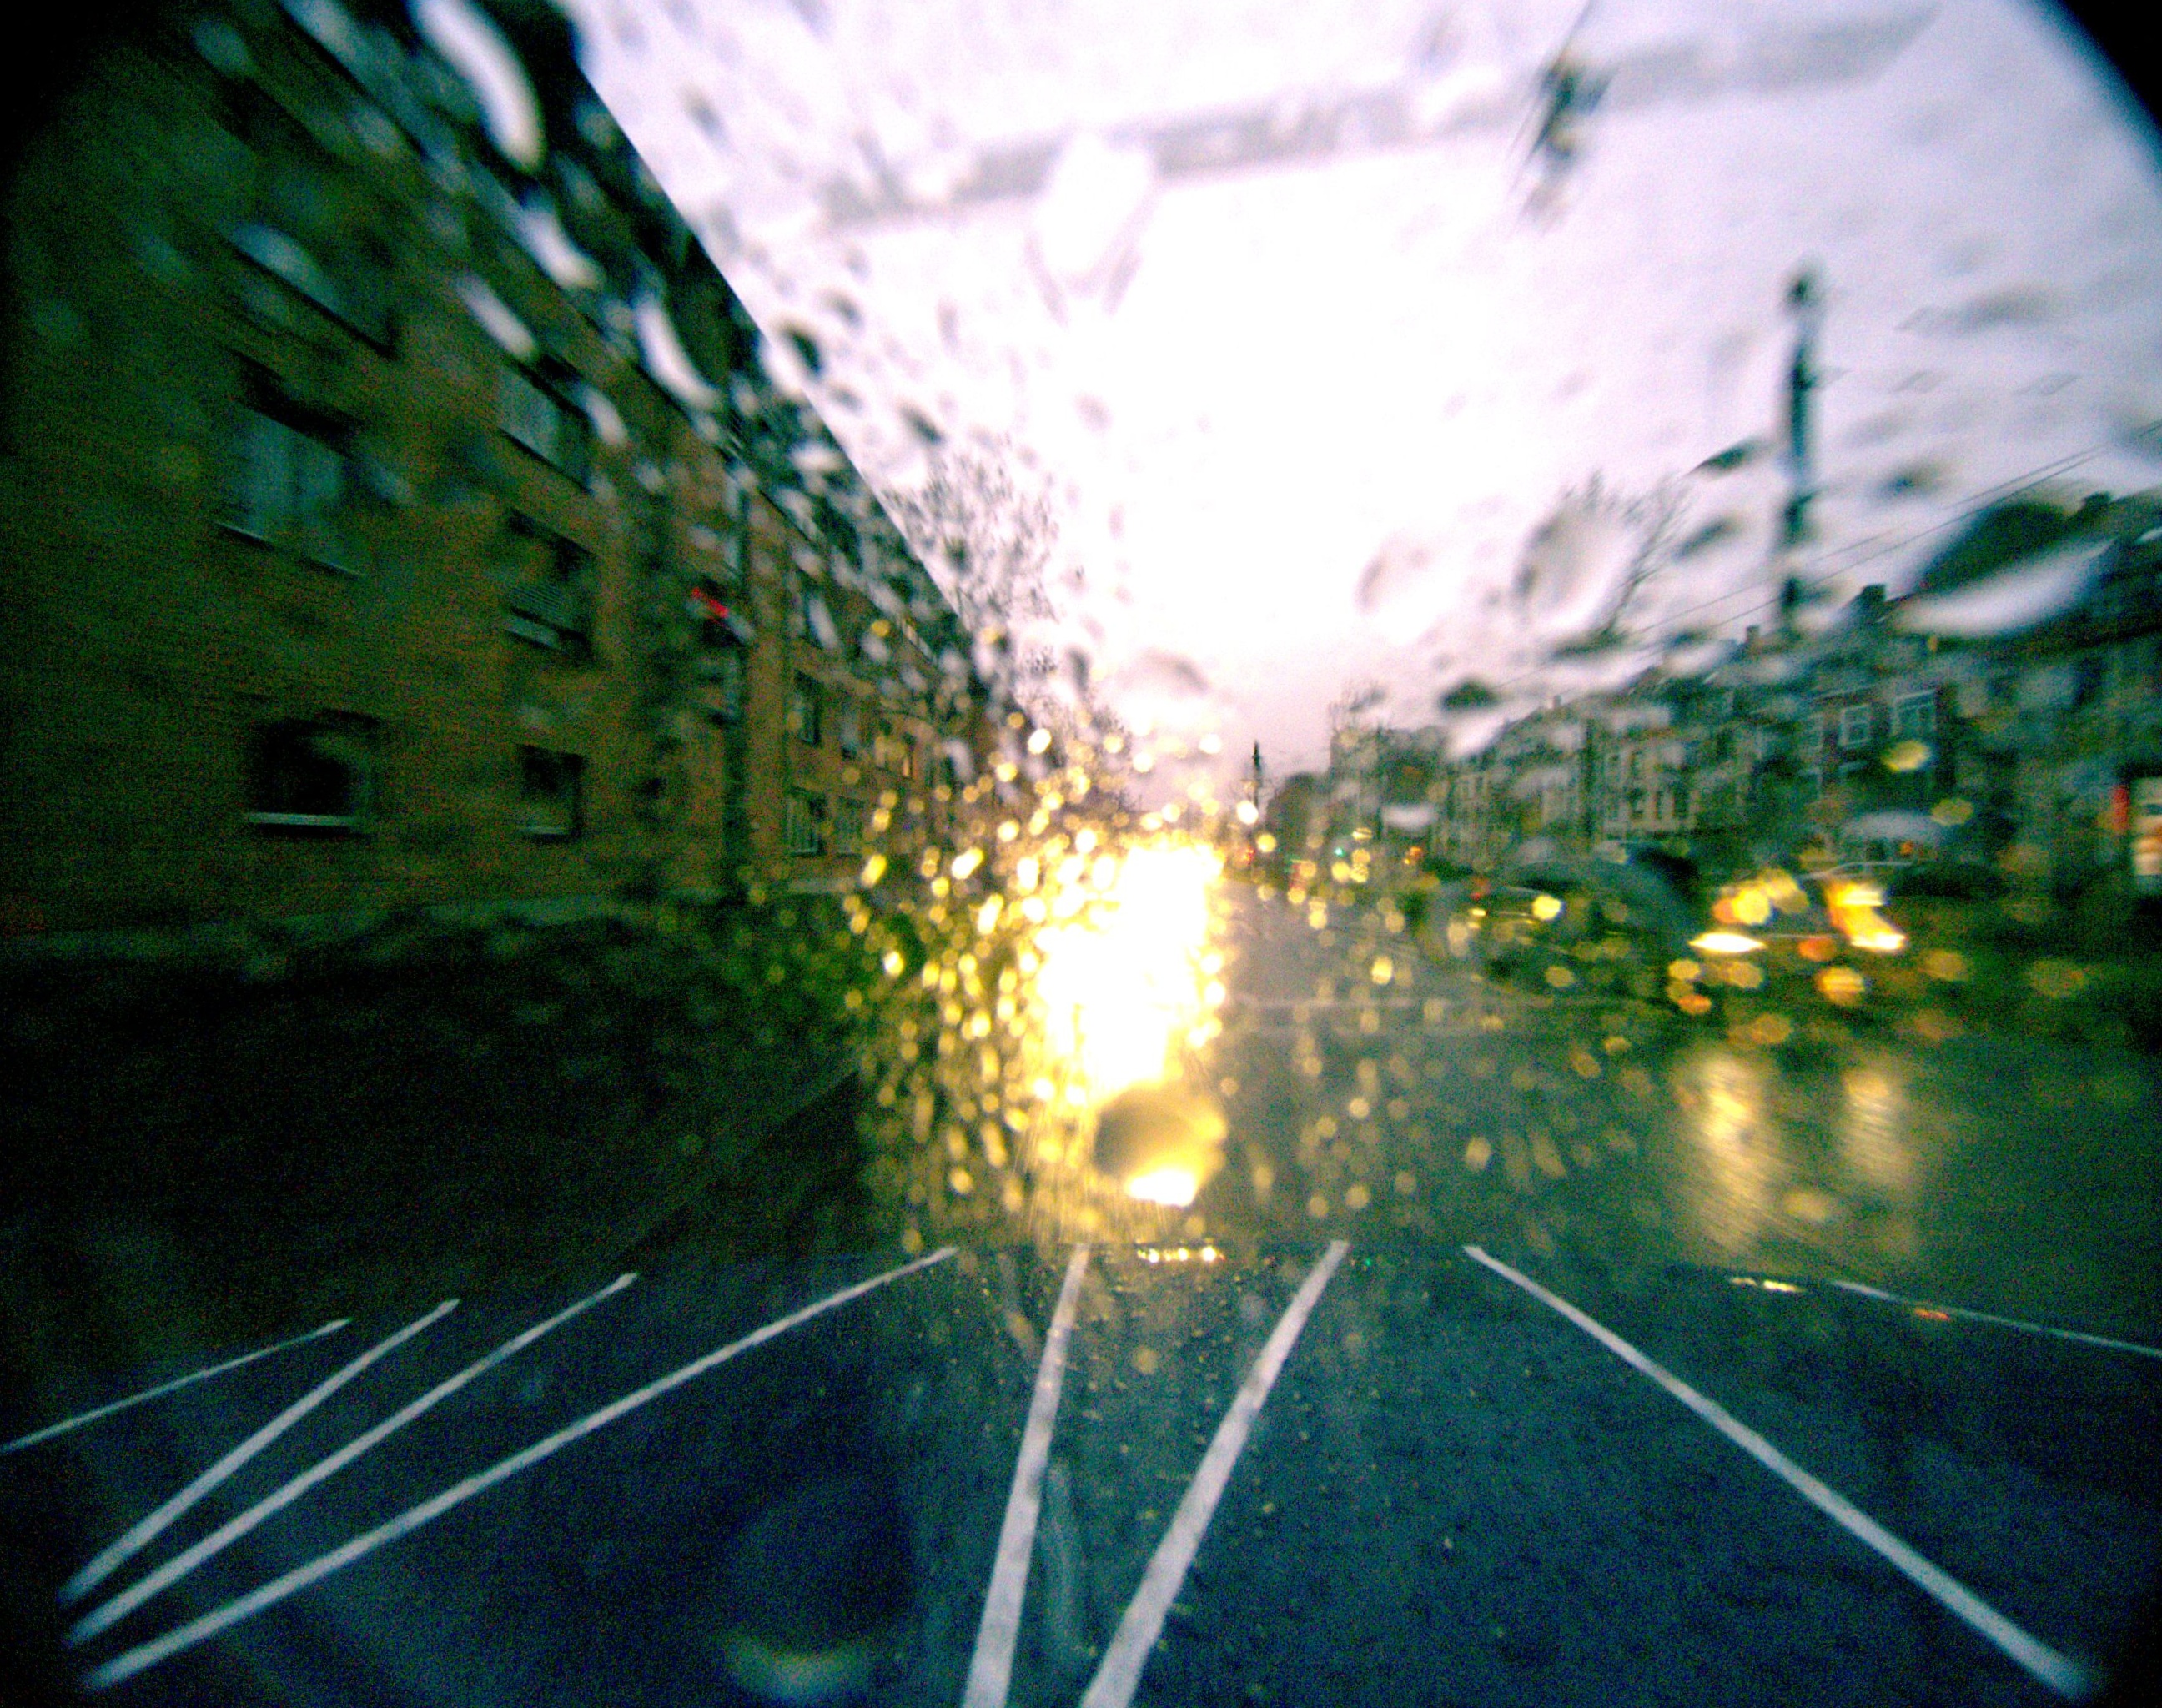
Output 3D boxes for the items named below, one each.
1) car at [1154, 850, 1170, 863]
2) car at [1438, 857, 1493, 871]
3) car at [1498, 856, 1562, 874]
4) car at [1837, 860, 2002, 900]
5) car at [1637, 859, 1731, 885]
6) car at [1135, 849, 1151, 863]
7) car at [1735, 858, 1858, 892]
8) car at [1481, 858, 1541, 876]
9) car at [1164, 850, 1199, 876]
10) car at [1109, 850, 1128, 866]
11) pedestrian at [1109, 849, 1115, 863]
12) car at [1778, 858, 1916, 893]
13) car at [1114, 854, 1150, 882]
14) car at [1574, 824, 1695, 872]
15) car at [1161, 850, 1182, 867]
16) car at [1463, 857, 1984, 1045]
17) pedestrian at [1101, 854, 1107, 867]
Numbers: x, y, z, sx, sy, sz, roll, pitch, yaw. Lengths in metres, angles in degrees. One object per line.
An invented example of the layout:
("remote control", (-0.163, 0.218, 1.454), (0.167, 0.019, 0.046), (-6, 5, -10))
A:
("car", (11.126, 0.341, 104.153), (1.998, 1.745, 4.001), (1, 0, 3))
("car", (34.038, 0.882, 67.305), (3.988, 1.162, 2.004), (1, 1, 42))
("car", (34.530, 0.827, 58.512), (3.988, 1.324, 2.004), (1, 1, 38))
("car", (31.641, 0.934, 28.869), (3.988, 1.324, 2.004), (1, 1, 41))
("car", (33.472, 0.971, 42.218), (3.988, 1.324, 2.004), (1, 1, 41))
("car", (7.998, 0.276, 98.704), (1.998, 1.745, 4.001), (1, 0, 3))
("car", (33.180, 0.932, 35.409), (3.988, 1.477, 2.004), (1, 1, 38))
("car", (35.000, 1.042, 61.871), (3.988, 1.324, 2.004), (1, 1, 39))
("car", (6.130, 0.495, 46.659), (1.813, 1.487, 4.054), (-1, 0, 4))
("car", (4.189, 0.476, 84.533), (1.998, 1.745, 4.001), (1, 0, 3))
("pedestrian", (4.164, 0.264, 102.542), (0.506, 1.814, 0.656), (1, 1, -22))
("car", (32.428, 0.881, 32.351), (3.988, 1.324, 2.004), (1, 1, 41))
("car", (2.770, 0.740, 41.125), (1.813, 1.384, 4.054), (-1, 0, 4))
("car", (34.422, -0.375, 47.419), (2.004, 2.781, 5.849), (0, 1, -45))
("car", (9.695, 0.515, 81.496), (1.998, 1.745, 4.001), (1, 0, 3))
("car", (6.323, 0.787, 8.463), (1.813, 1.421, 4.826), (-1, 0, 1))
("pedestrian", (3.081, 0.900, 100.106), (0.506, 1.732, 0.656), (0, 1, -29))
